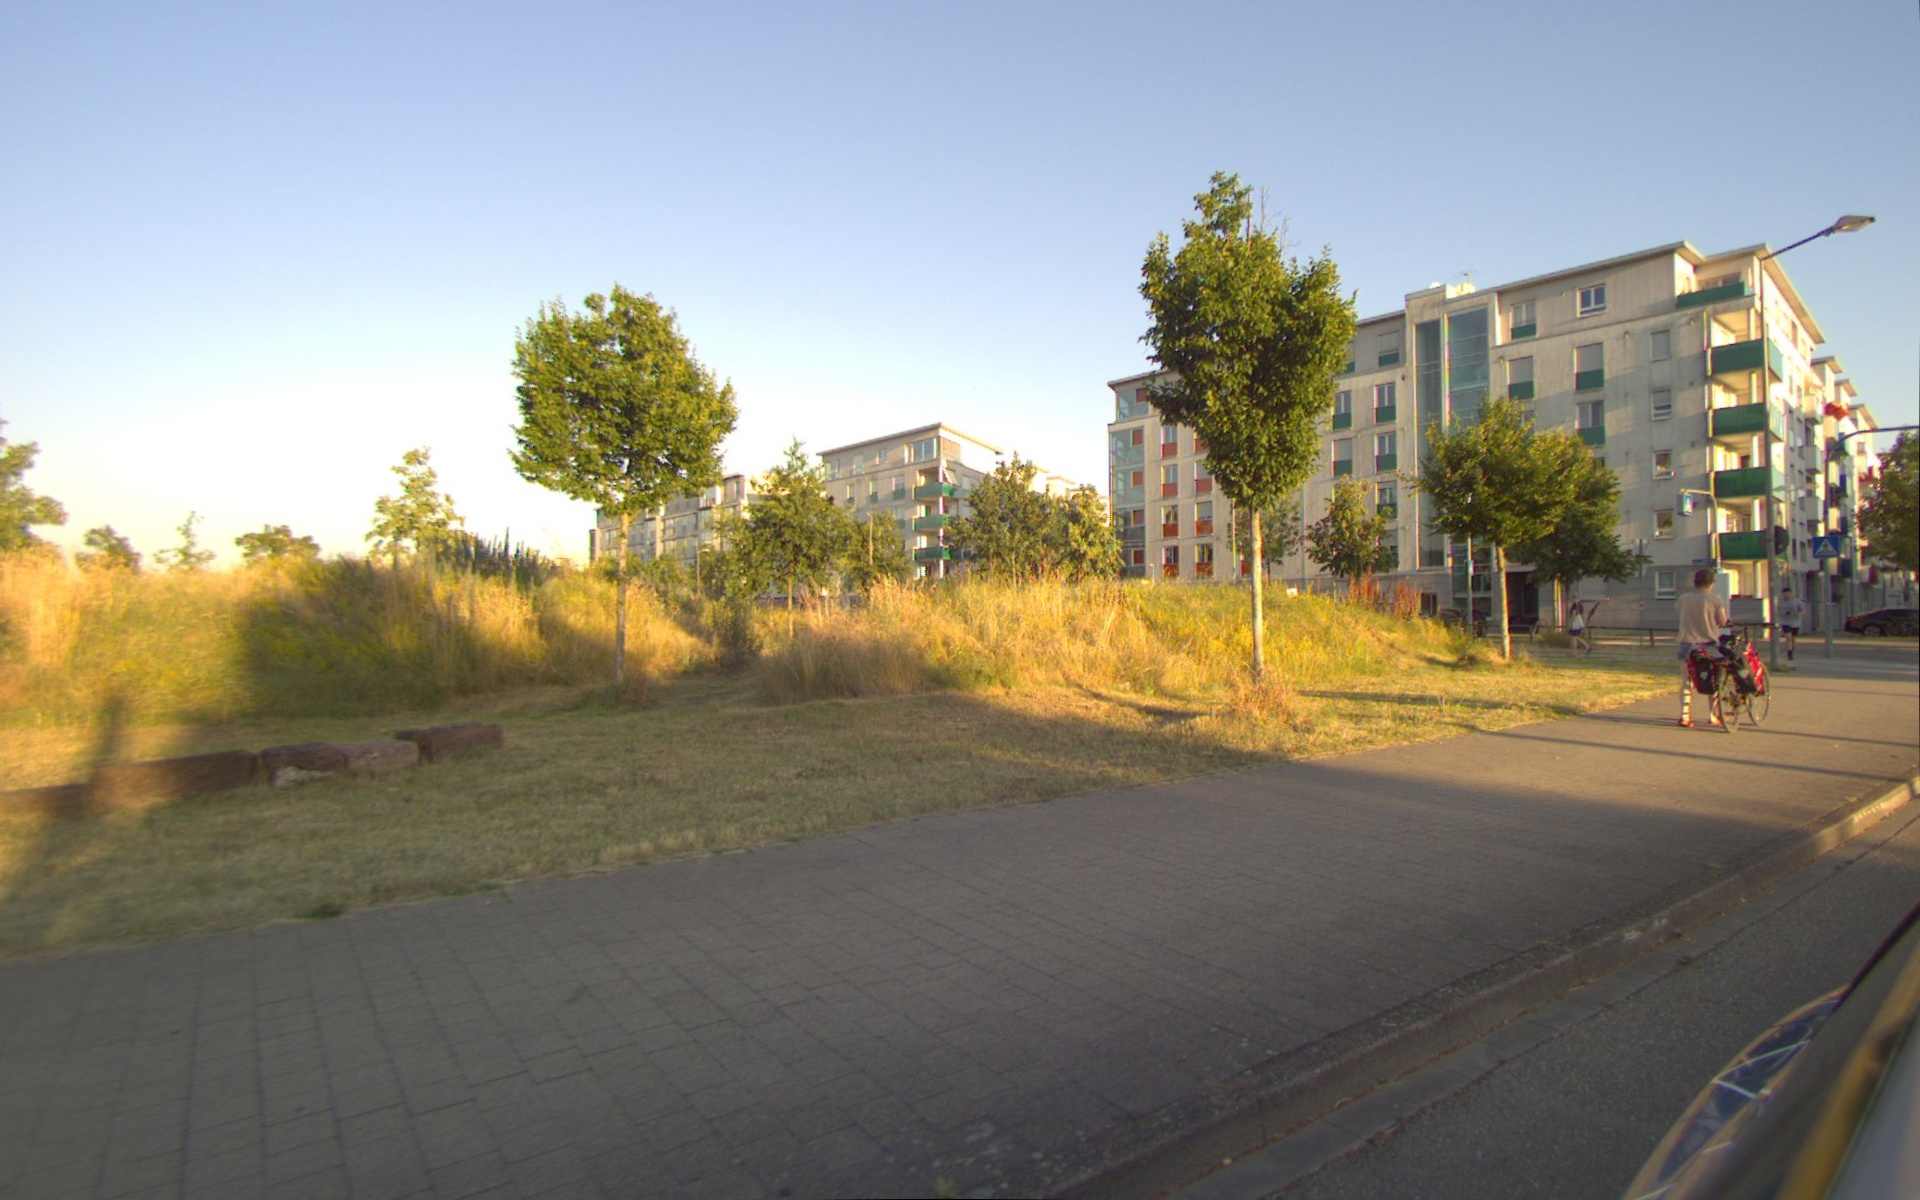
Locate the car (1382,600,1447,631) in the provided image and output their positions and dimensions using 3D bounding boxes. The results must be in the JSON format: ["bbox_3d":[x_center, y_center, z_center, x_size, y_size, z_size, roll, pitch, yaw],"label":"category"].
[{"bbox_3d":[23.386,0.778,51.988,3.938,1.391,1.556,-3,1,-42],"label":"car"}]

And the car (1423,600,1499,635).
[{"bbox_3d":[24.666,0.849,49.737,4.405,1.506,1.829,-3,1,-42],"label":"car"}]

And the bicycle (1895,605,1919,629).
[{"bbox_3d":[44.050,0.785,46.162,2.029,1.059,0.466,2,0,43],"label":"bicycle"}]

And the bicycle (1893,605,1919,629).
[{"bbox_3d":[43.208,0.778,45.526,1.787,1.055,0.558,2,0,43],"label":"bicycle"}]

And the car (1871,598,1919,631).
[{"bbox_3d":[47.534,0.745,49.375,1.711,1.527,4.411,1,1,-39],"label":"car"}]

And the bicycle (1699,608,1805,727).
[{"bbox_3d":[8.508,0.691,10.845,1.906,1.184,0.451,1,-2,-39],"label":"bicycle"}]

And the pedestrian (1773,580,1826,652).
[{"bbox_3d":[20.907,0.391,25.206,0.753,1.752,0.801,1,-2,-36],"label":"pedestrian"}]

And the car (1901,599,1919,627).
[{"bbox_3d":[54.950,0.783,55.903,4.284,1.527,1.659,3,1,44],"label":"car"}]

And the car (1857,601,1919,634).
[{"bbox_3d":[45.550,0.862,47.545,1.904,1.476,4.884,1,1,-41],"label":"car"}]

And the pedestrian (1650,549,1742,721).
[{"bbox_3d":[8.161,0.380,11.221,0.803,1.825,0.596,1,-2,-38],"label":"pedestrian"}]

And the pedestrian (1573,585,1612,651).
[{"bbox_3d":[17.753,0.500,28.408,0.788,1.807,0.733,2,-2,-42],"label":"pedestrian"}]

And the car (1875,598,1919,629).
[{"bbox_3d":[49.398,0.714,51.327,1.713,1.512,4.287,1,1,-43],"label":"car"}]
